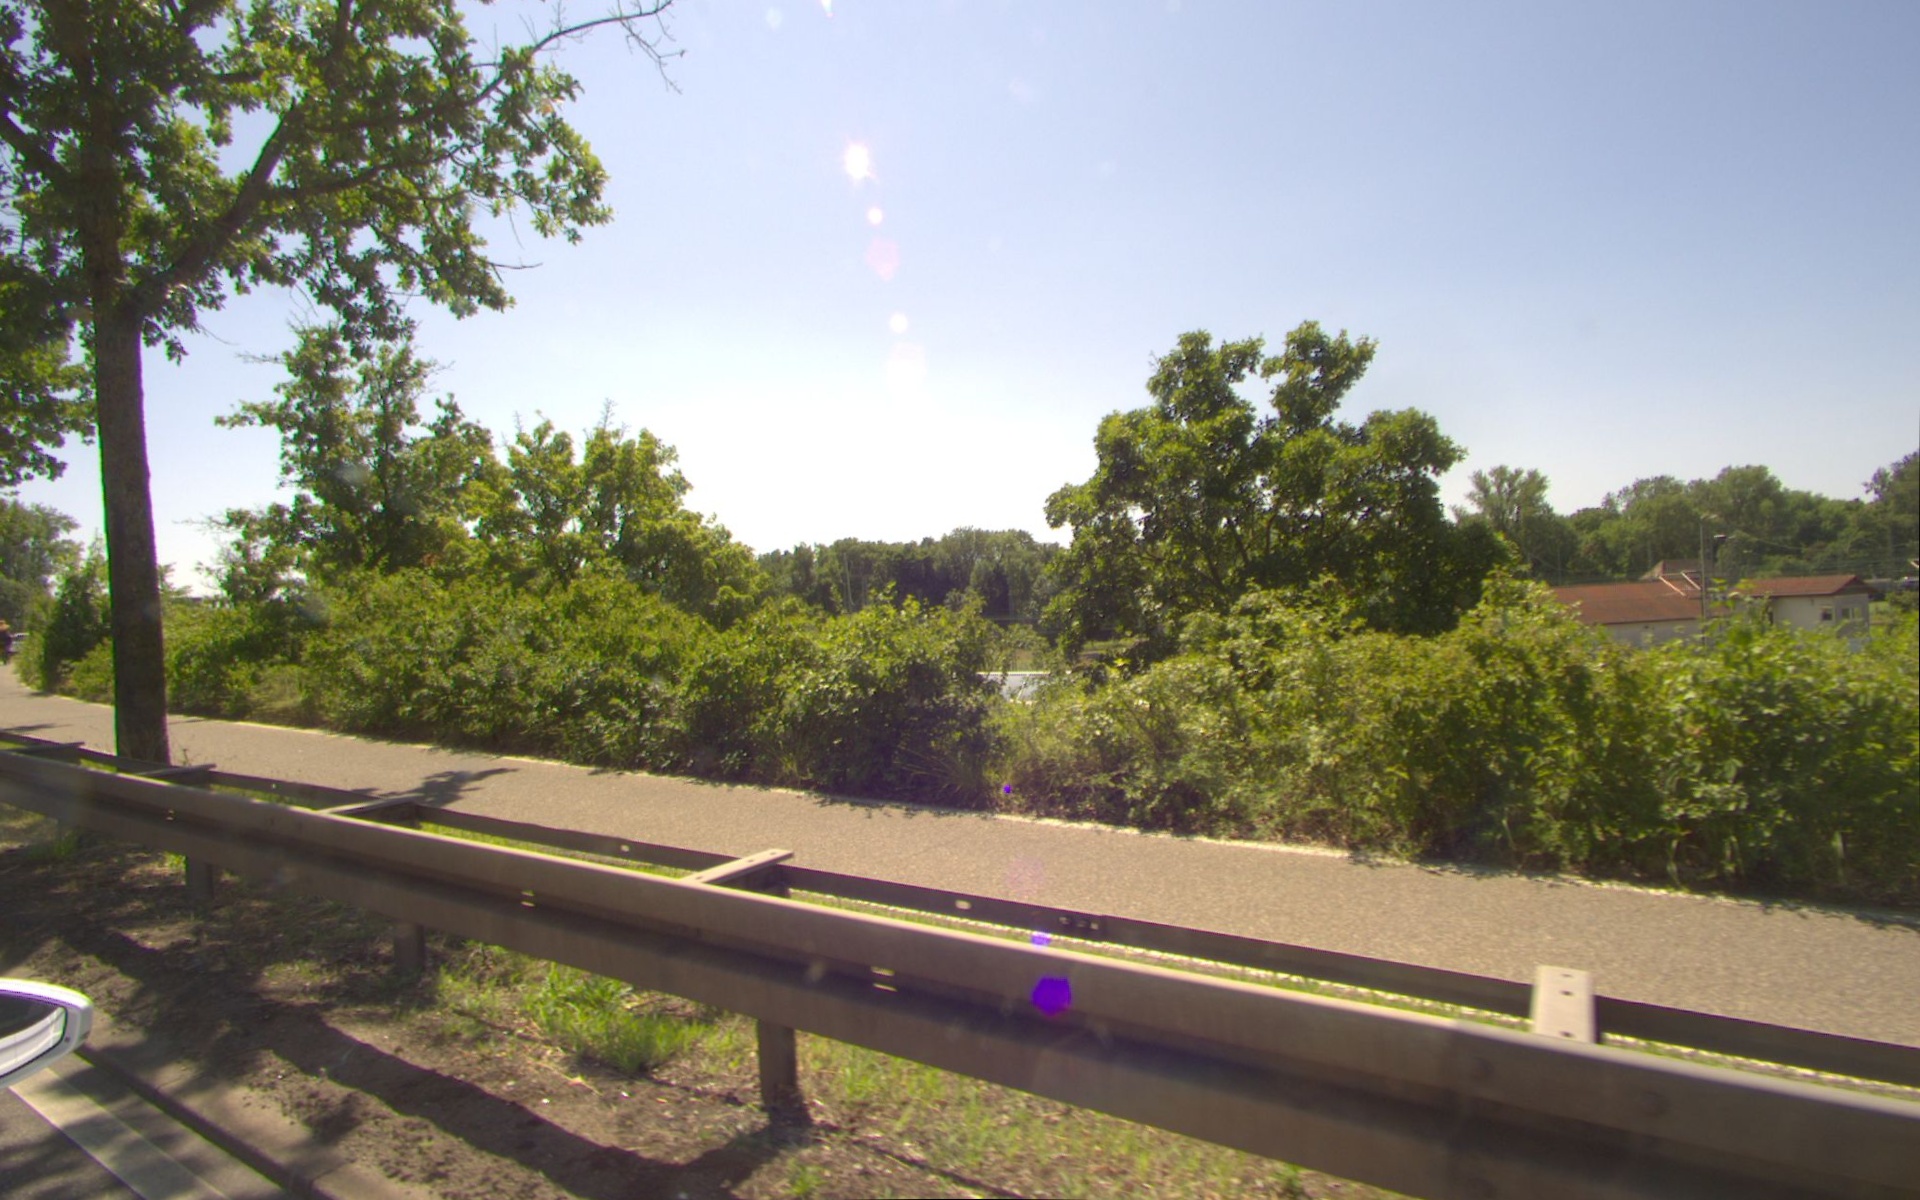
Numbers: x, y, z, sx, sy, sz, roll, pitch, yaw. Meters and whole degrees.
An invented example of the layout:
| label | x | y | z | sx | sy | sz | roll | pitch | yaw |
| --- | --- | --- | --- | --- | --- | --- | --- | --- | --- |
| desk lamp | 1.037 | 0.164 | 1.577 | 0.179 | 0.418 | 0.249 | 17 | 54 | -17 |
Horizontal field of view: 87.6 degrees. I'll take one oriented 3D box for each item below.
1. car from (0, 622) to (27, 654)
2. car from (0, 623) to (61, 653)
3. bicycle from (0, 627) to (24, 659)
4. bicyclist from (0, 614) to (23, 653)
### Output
| label | x | y | z | sx | sy | sz | roll | pitch | yaw |
| --- | --- | --- | --- | --- | --- | --- | --- | --- | --- |
| car | -54.160 | 2.120 | 56.102 | 1.974 | 1.739 | 4.839 | 1 | -2 | -33 |
| car | -57.655 | 2.338 | 62.123 | 1.972 | 1.790 | 4.729 | 0 | -2 | -31 |
| bicycle | -38.259 | 1.738 | 40.252 | 2.286 | 1.252 | 0.855 | -2 | -2 | 45 |
| bicyclist | -38.258 | 1.348 | 40.241 | 0.970 | 1.543 | 0.855 | -1 | -1 | 44 |
